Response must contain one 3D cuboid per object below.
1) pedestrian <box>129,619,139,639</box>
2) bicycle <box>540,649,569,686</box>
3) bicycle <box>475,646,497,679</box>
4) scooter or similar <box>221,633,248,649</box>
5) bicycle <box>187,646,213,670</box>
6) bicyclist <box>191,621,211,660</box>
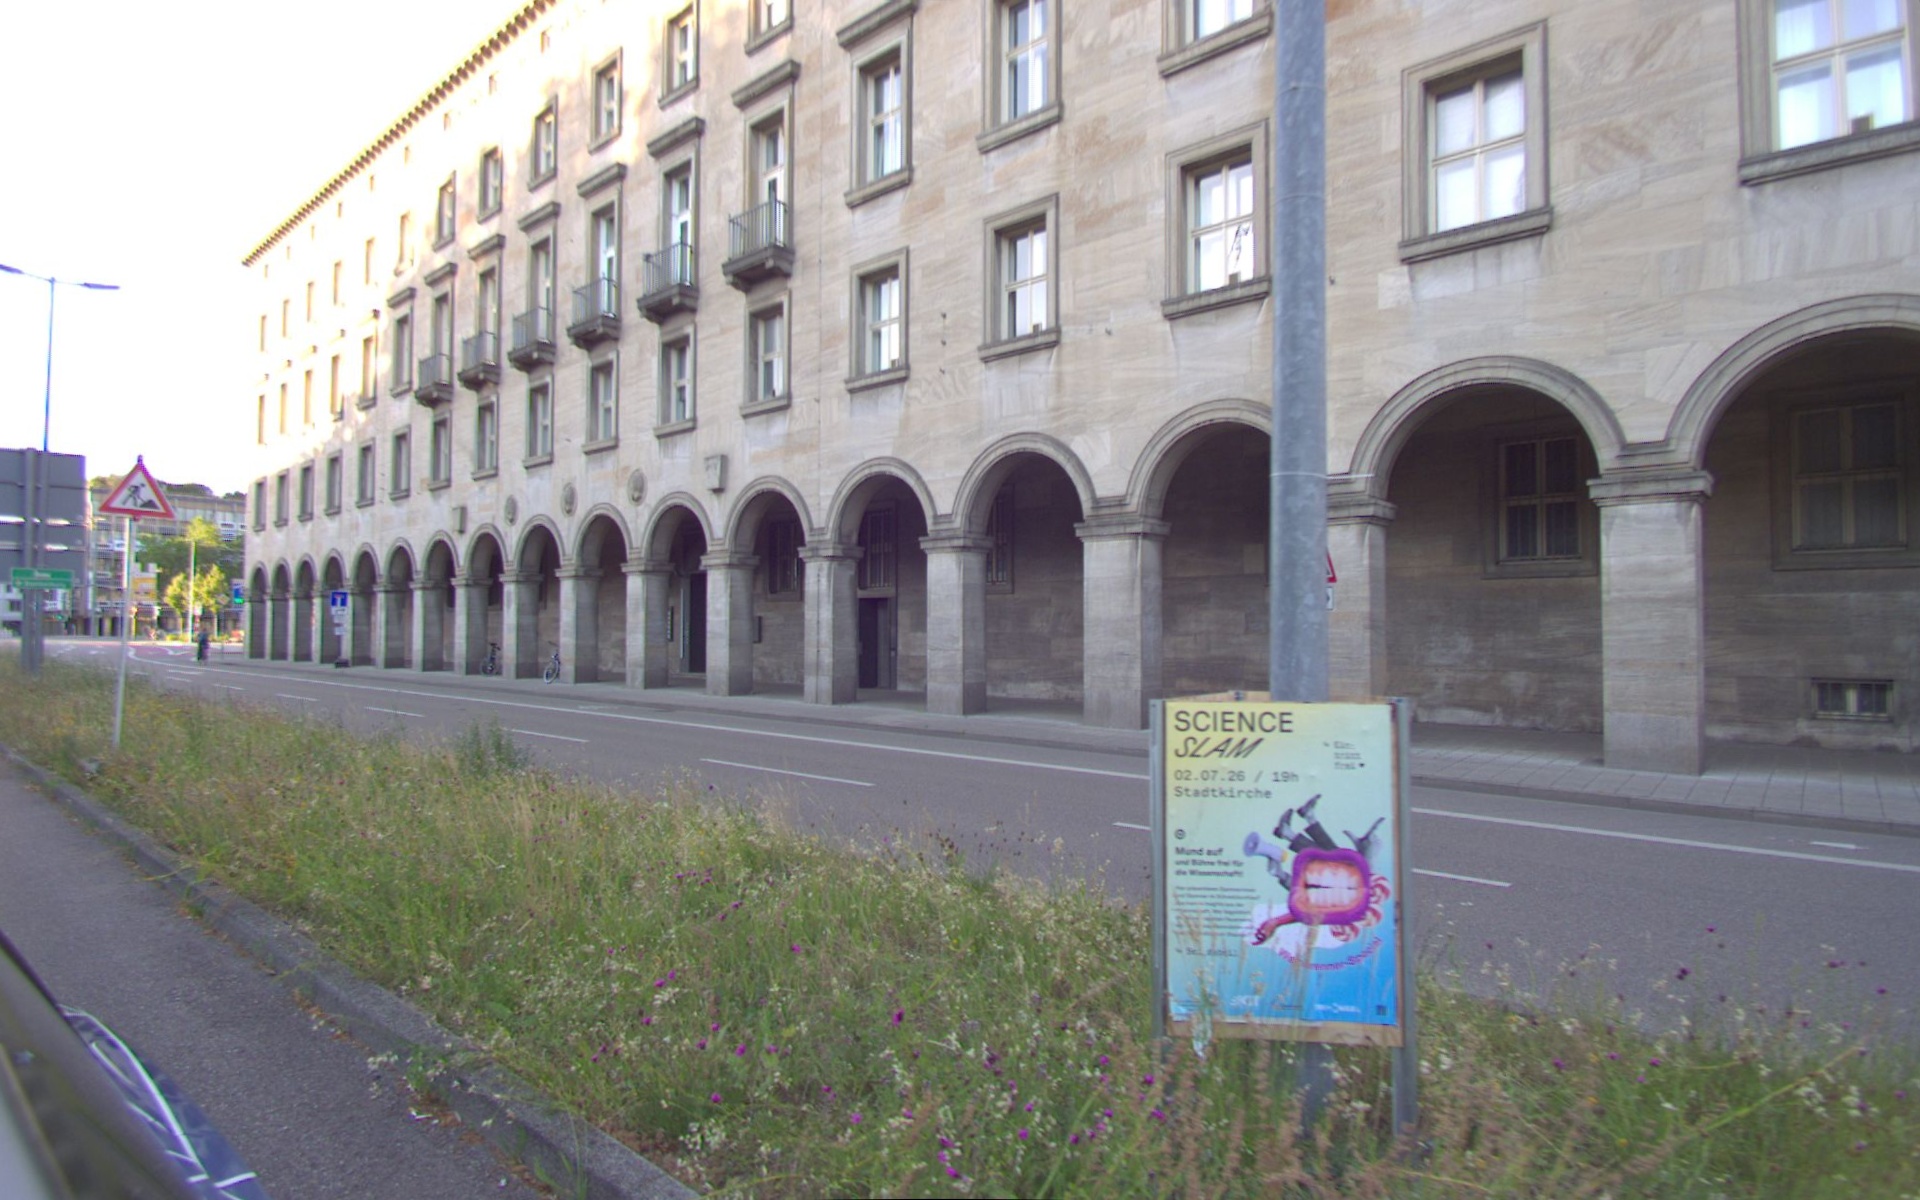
[{"bbox_3d":[-83.354,2.906,102.083,0.647,1.948,0.652,-3,-4,43],"label":"pedestrian"},{"bbox_3d":[-11.736,1.944,29.323,0.471,1.013,2.010,1,-2,-13],"label":"bicycle"},{"bbox_3d":[-15.370,2.000,32.820,0.470,1.013,2.011,1,-2,-30],"label":"bicycle"},{"bbox_3d":[-62.880,3.543,87.728,0.422,1.315,1.819,-1,-2,35],"label":"scooter or similar"},{"bbox_3d":[-34.192,2.600,45.527,2.004,1.013,0.536,-2,-3,41],"label":"bicycle"},{"bbox_3d":[-34.147,1.821,45.524,0.748,1.706,0.531,-1,-3,41],"label":"bicyclist"}]
